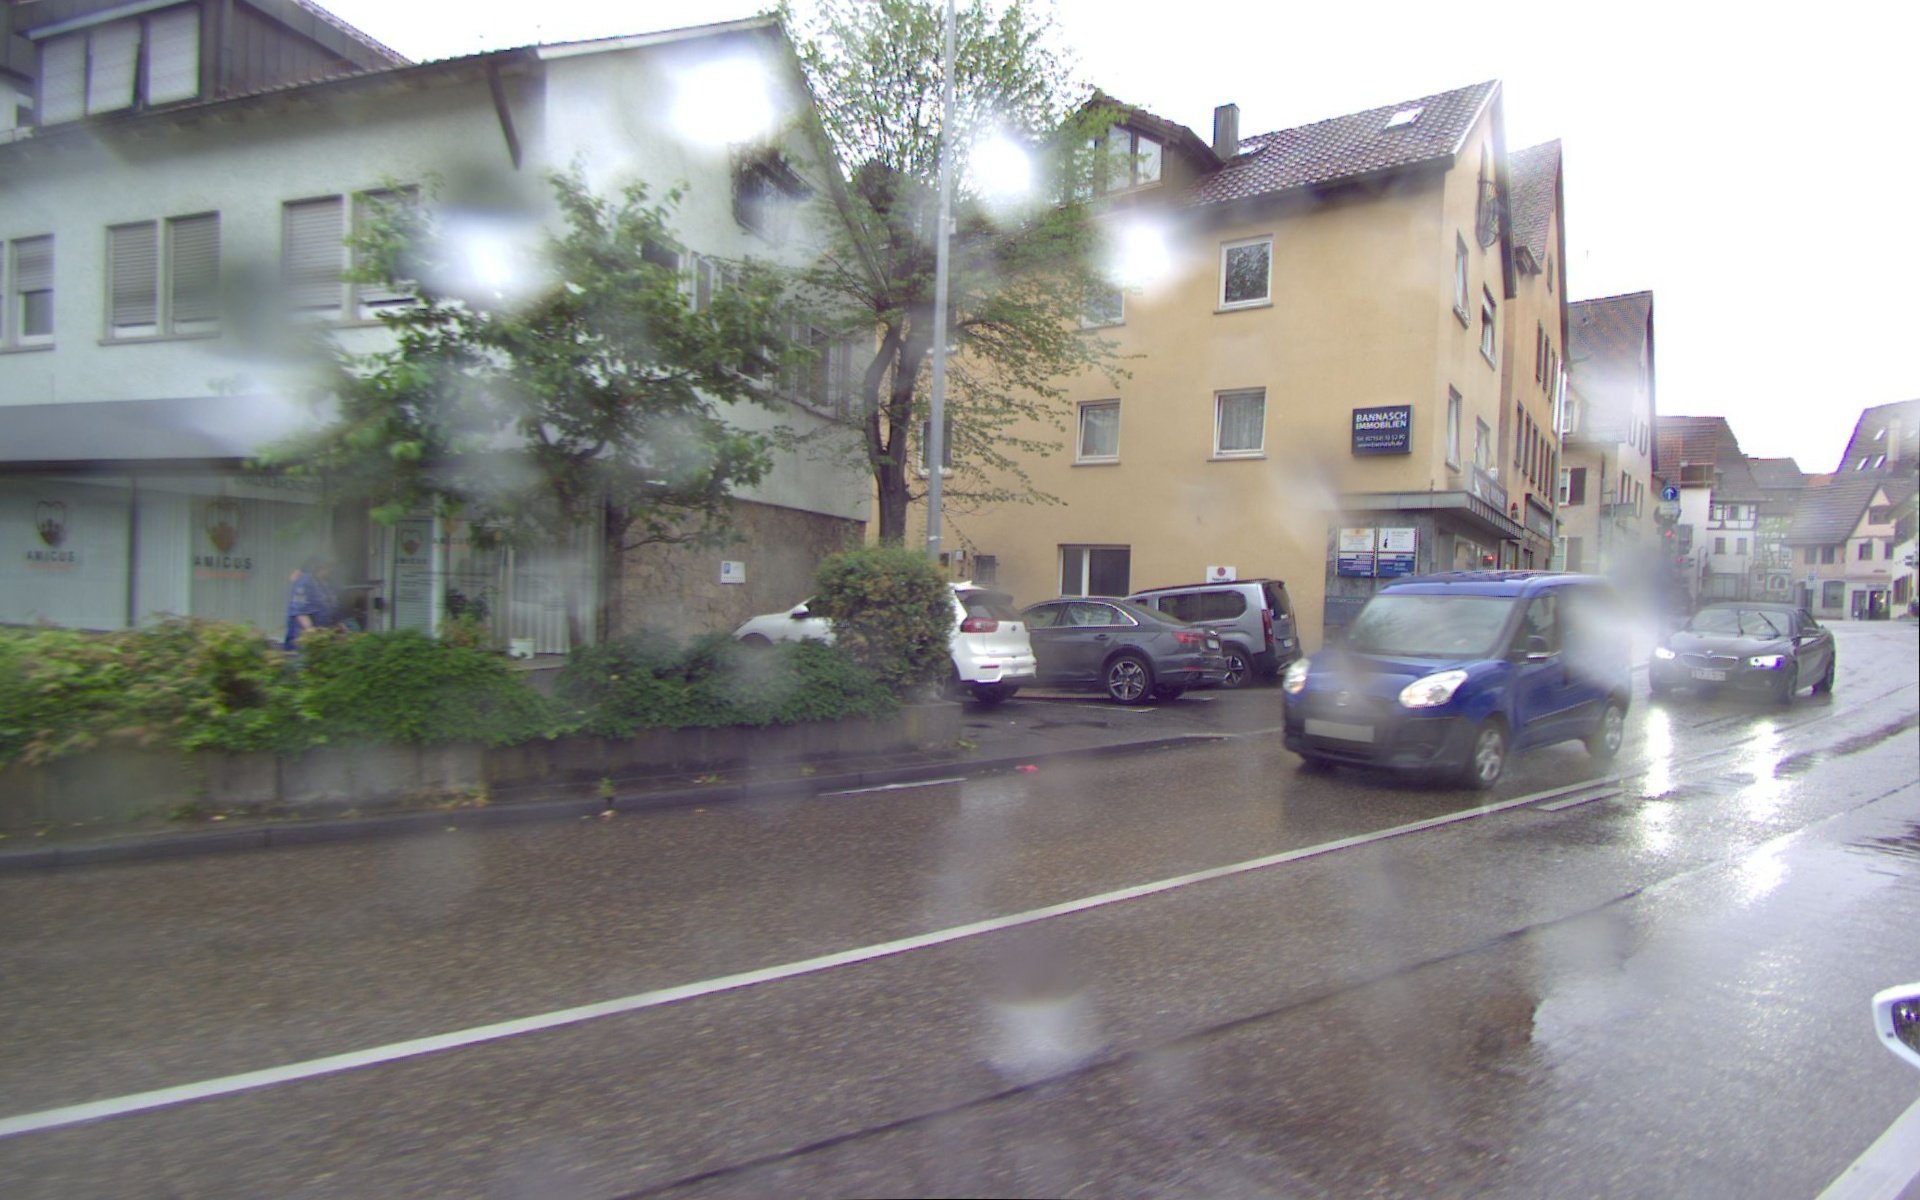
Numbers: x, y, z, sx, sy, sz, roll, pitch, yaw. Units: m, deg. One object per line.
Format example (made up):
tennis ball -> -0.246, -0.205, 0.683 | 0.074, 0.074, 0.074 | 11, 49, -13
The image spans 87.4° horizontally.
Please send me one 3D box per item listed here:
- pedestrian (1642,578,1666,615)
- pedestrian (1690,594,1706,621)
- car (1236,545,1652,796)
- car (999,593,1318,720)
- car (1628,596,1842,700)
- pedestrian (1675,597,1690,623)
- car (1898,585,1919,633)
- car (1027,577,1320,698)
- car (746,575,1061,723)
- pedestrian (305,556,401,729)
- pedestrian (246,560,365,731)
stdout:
pedestrian -> 35.147, -0.173, 50.862 | 0.783, 1.855, 0.714 | -3, 0, 22
pedestrian -> 48.890, 0.494, 66.565 | 0.770, 1.755, 0.627 | -1, 1, 41
car -> 4.837, 0.561, 9.782 | 4.341, 1.907, 1.977 | 1, 0, -39
car -> 2.721, 0.688, 13.993 | 3.931, 1.473, 1.895 | 1, 0, 33
car -> 12.345, 0.658, 15.912 | 4.228, 1.406, 1.845 | 0, 1, -40
pedestrian -> 48.267, 0.668, 67.106 | 0.770, 1.755, 0.627 | -1, 1, 41
car -> 34.828, 0.323, 33.773 | 4.677, 1.610, 1.821 | 1, 2, 40
car -> 3.888, 0.732, 18.690 | 4.854, 1.849, 1.957 | -6, -1, 34
car -> -0.743, 0.529, 13.033 | 3.581, 1.651, 1.996 | 1, 0, 30
pedestrian -> -6.659, 0.445, 11.032 | 0.659, 1.844, 0.618 | 1, 1, 14
pedestrian -> -6.765, 0.445, 10.398 | 0.845, 1.694, 0.618 | 1, 1, 15
